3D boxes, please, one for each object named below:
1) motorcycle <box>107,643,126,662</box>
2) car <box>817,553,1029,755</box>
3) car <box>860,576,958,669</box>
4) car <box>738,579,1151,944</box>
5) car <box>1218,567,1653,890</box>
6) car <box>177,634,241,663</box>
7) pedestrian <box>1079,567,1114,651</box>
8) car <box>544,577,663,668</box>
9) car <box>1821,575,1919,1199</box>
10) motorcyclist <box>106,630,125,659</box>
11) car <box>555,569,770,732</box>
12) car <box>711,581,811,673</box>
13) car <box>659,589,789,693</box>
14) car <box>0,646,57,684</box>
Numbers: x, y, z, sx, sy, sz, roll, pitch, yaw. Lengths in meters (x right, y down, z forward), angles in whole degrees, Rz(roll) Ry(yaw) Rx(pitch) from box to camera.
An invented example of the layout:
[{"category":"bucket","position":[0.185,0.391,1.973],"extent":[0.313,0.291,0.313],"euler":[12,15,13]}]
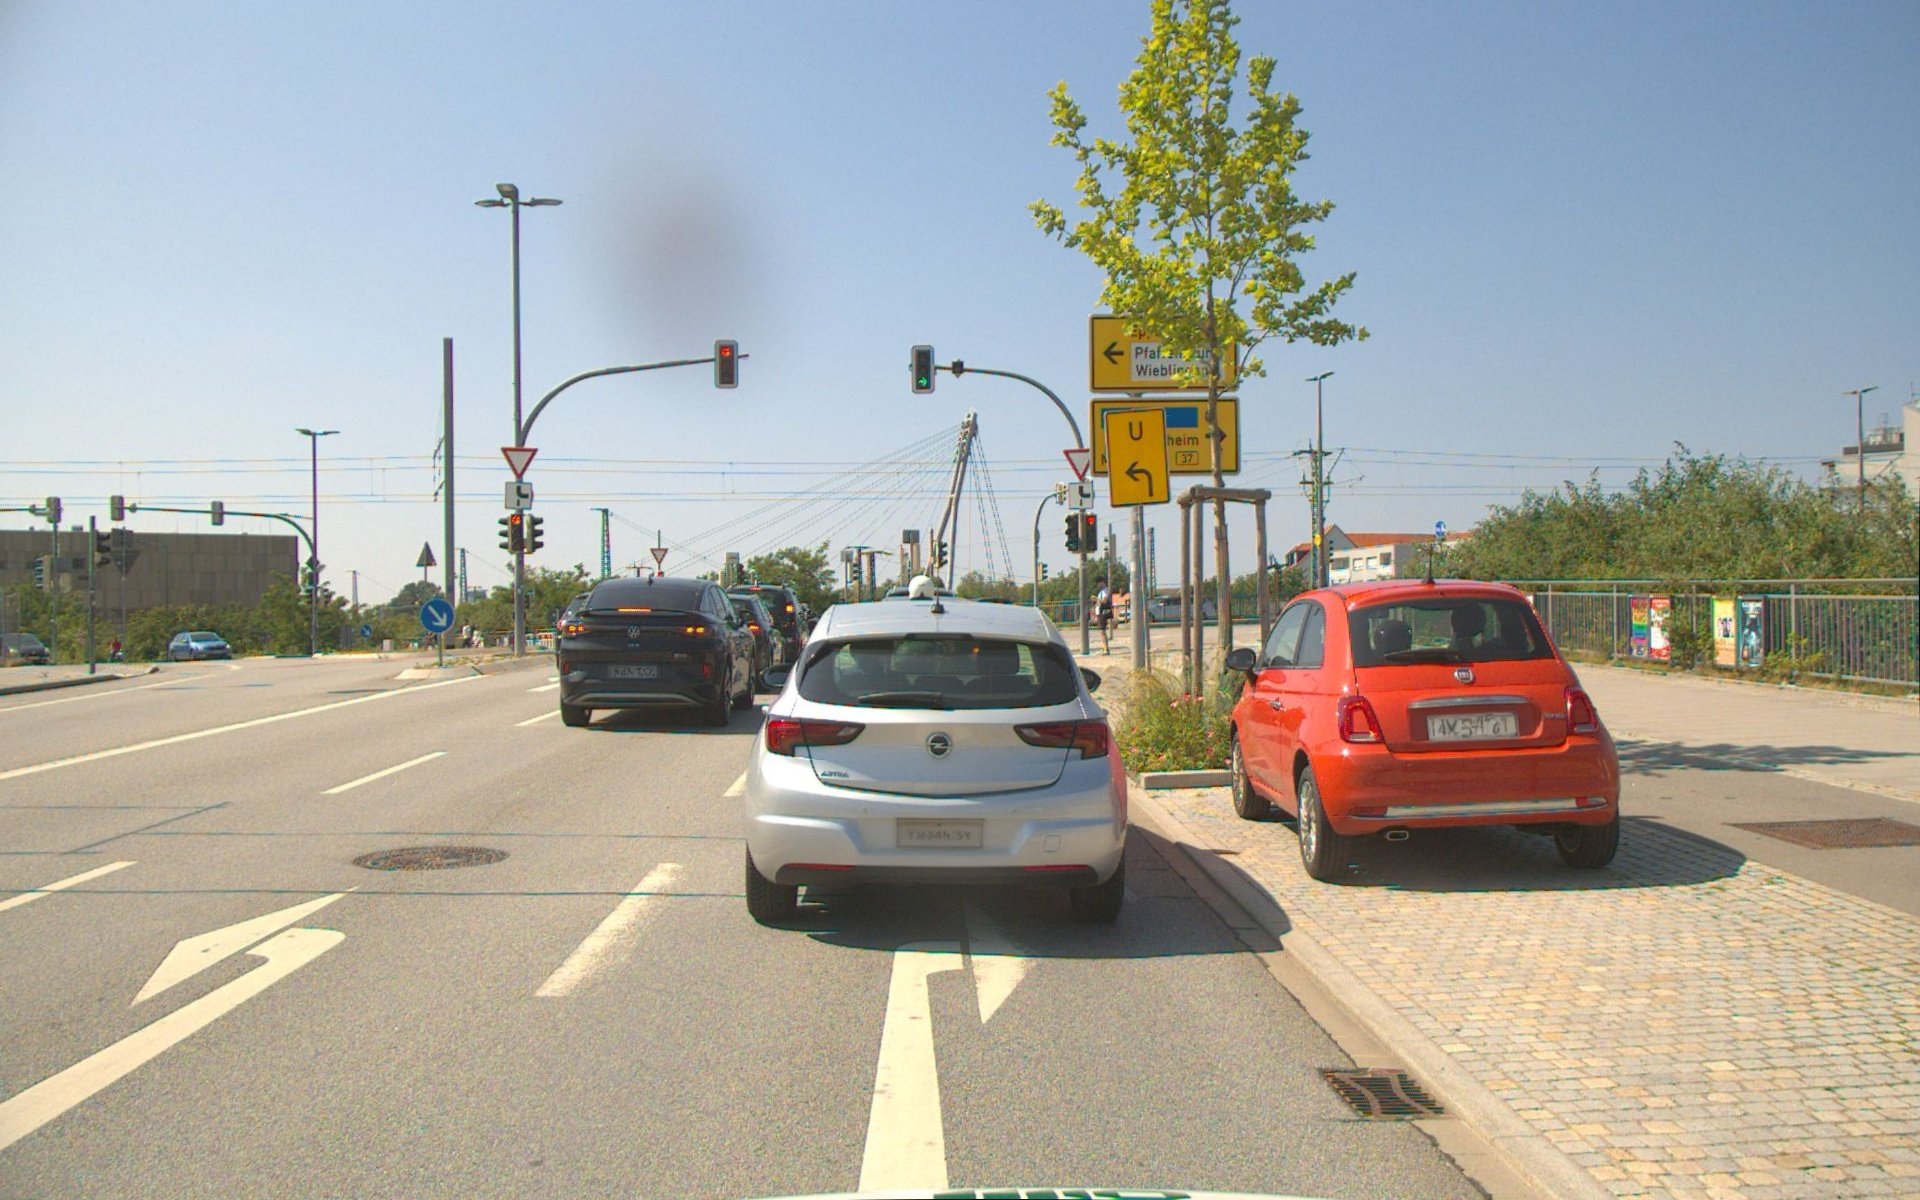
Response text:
[{"category":"motorcycle","position":[-43.937,2.726,86.126],"extent":[0.515,0.971,1.908],"euler":[1,0,-37]},{"category":"car","position":[-0.375,0.473,17.622],"extent":[1.953,1.852,4.401],"euler":[1,1,-1]},{"category":"car","position":[-0.912,0.360,30.854],"extent":[1.689,1.591,4.000],"euler":[1,1,-1]},{"category":"car","position":[-0.169,0.688,8.911],"extent":[1.708,1.503,3.997],"euler":[1,0,-3]},{"category":"car","position":[2.593,0.618,9.782],"extent":[1.577,1.522,3.352],"euler":[-2,0,0]},{"category":"car","position":[-36.180,2.316,79.655],"extent":[1.806,1.354,3.941],"euler":[1,-2,-40]},{"category":"pedestrian","position":[3.074,0.204,37.347],"extent":[0.634,1.868,0.797],"euler":[-2,0,-3]},{"category":"car","position":[-6.589,0.402,30.896],"extent":[1.565,1.574,3.760],"euler":[1,0,-3]},{"category":"car","position":[2.908,0.639,1.910],"extent":[1.627,1.451,3.999],"euler":[-2,0,-2]},{"category":"motorcyclist","position":[-44.012,2.319,86.238],"extent":[0.746,1.520,0.668],"euler":[1,-1,-38]},{"category":"car","position":[-3.342,0.536,19.369],"extent":[1.765,1.670,4.365],"euler":[1,0,-1]},{"category":"car","position":[-3.761,0.496,31.787],"extent":[1.616,1.643,3.818],"euler":[1,0,-3]},{"category":"car","position":[-3.583,0.599,25.599],"extent":[1.543,1.459,3.785],"euler":[1,0,-2]},{"category":"car","position":[-41.161,2.857,73.082],"extent":[1.662,1.502,3.358],"euler":[-1,1,-39]}]
